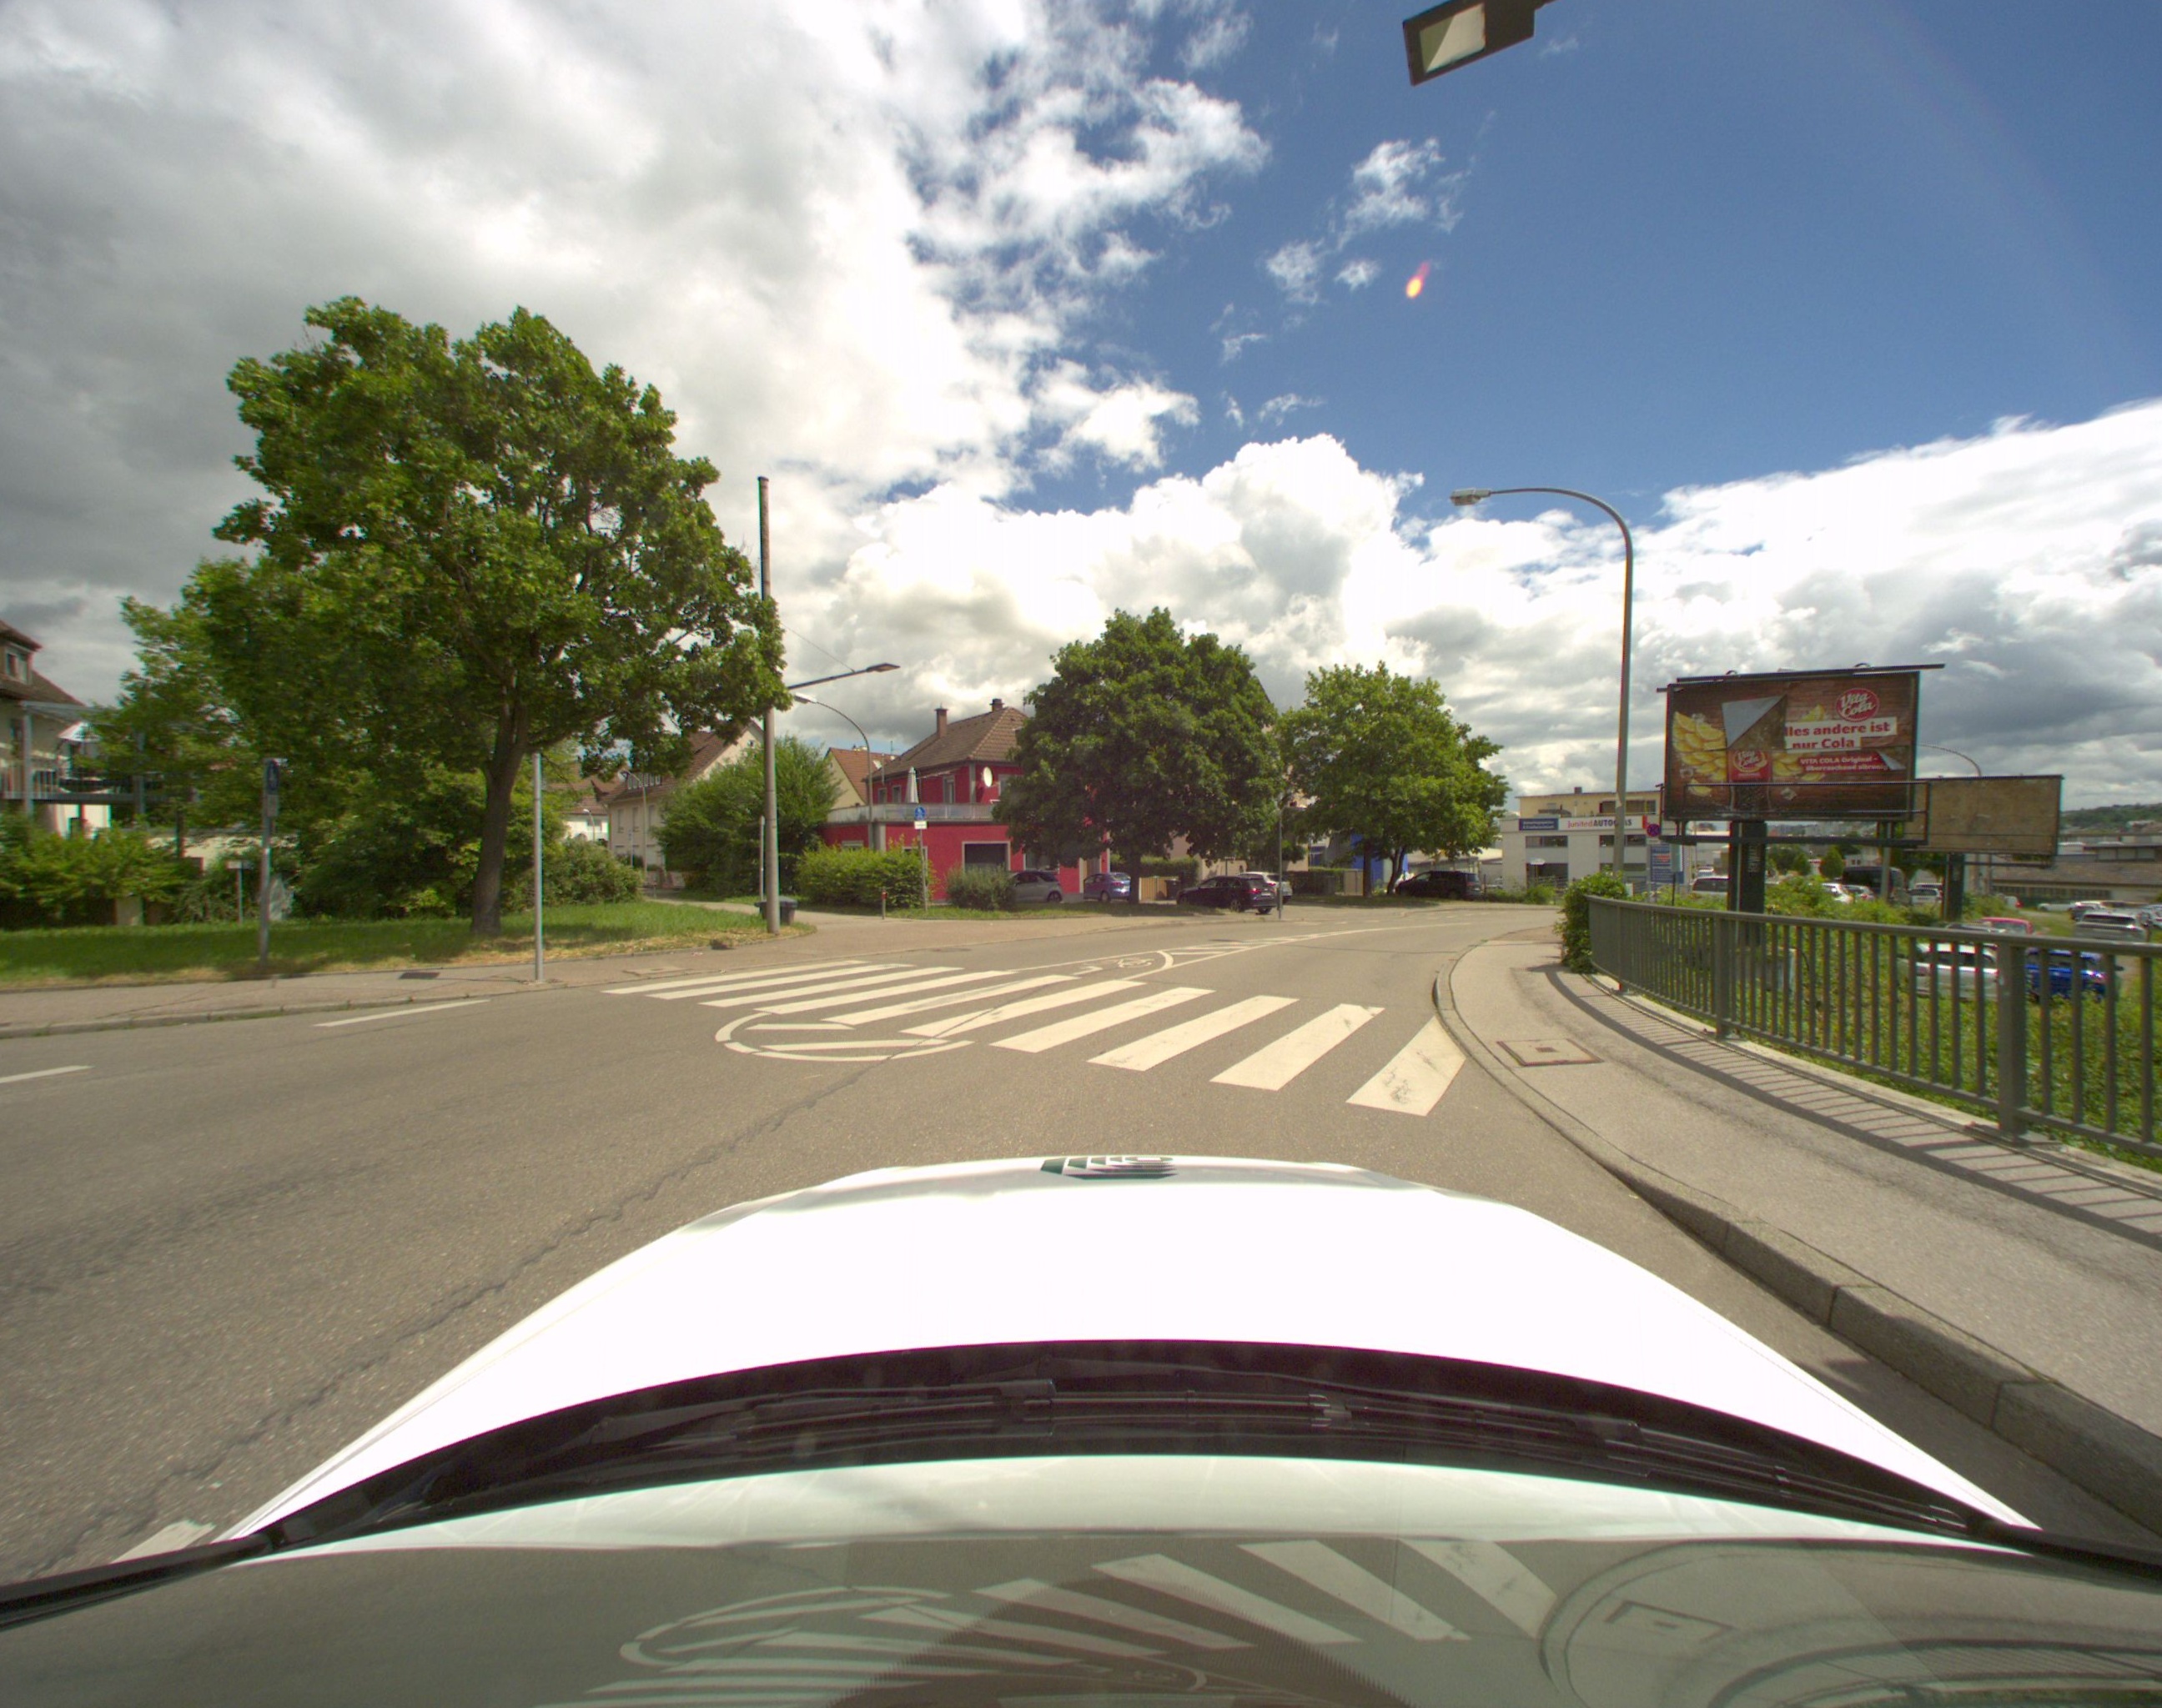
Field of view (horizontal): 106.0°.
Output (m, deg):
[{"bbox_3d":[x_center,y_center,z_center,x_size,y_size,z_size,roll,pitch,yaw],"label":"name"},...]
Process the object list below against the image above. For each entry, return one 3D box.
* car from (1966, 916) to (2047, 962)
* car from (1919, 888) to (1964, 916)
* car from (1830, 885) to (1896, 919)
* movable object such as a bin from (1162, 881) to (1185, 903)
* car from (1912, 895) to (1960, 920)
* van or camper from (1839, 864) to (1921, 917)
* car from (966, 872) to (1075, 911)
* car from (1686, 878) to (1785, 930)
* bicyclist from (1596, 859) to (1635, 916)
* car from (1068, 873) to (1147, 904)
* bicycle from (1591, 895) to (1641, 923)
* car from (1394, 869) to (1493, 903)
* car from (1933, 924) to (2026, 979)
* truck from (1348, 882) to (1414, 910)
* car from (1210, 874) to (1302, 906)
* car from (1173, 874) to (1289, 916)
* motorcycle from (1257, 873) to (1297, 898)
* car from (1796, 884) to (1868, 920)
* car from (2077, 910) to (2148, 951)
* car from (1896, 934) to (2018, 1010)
[{"bbox_3d":[34.726,3.136,30.543,3.712,1.510,1.692,2,-2,-37],"label":"car"},{"bbox_3d":[65.301,3.613,61.783,4.941,2.014,1.977,3,-3,-39],"label":"car"},{"bbox_3d":[37.367,2.259,38.909,3.712,1.510,1.692,2,-2,-37],"label":"car"},{"bbox_3d":[4.595,1.888,40.518,0.883,1.061,0.750,2,-2,-32],"label":"movable object such as a bin"},{"bbox_3d":[53.627,3.339,51.081,2.920,1.507,1.778,3,-5,-39],"label":"car"},{"bbox_3d":[42.091,1.951,42.867,5.942,2.586,2.108,3,-4,-36],"label":"van or camper"},{"bbox_3d":[-2.357,1.456,32.275,4.096,1.426,1.627,2,-1,-37],"label":"car"},{"bbox_3d":[23.006,1.715,28.585,4.327,1.678,1.692,2,-2,-37],"label":"car"},{"bbox_3d":[17.736,1.129,27.025,1.085,1.826,0.679,3,-5,-36],"label":"bicyclist"},{"bbox_3d":[1.214,1.642,38.917,1.851,1.378,3.772,1,-2,-35],"label":"car"},{"bbox_3d":[17.753,1.820,27.007,2.110,0.878,0.682,3,-5,-36],"label":"bicycle"},{"bbox_3d":[20.175,1.763,45.518,2.008,1.716,4.662,5,-3,-36],"label":"car"},{"bbox_3d":[29.293,3.111,26.531,3.523,1.510,1.692,2,-2,-37],"label":"car"},{"bbox_3d":[29.957,4.285,81.429,5.725,2.707,2.190,-3,-5,41],"label":"truck"},{"bbox_3d":[8.132,1.685,38.127,1.885,1.404,3.886,2,-3,-39],"label":"car"},{"bbox_3d":[5.637,1.523,30.997,2.008,1.393,4.099,2,-1,-36],"label":"car"},{"bbox_3d":[10.816,1.719,44.903,2.246,1.316,0.910,3,-2,-38],"label":"motorcycle"},{"bbox_3d":[33.134,2.086,35.920,3.975,1.480,1.692,2,-2,-38],"label":"car"},{"bbox_3d":[42.965,3.133,33.910,4.549,1.510,1.692,2,-2,-37],"label":"car"},{"bbox_3d":[21.823,2.856,20.261,3.523,1.510,1.692,2,-2,-37],"label":"car"}]
